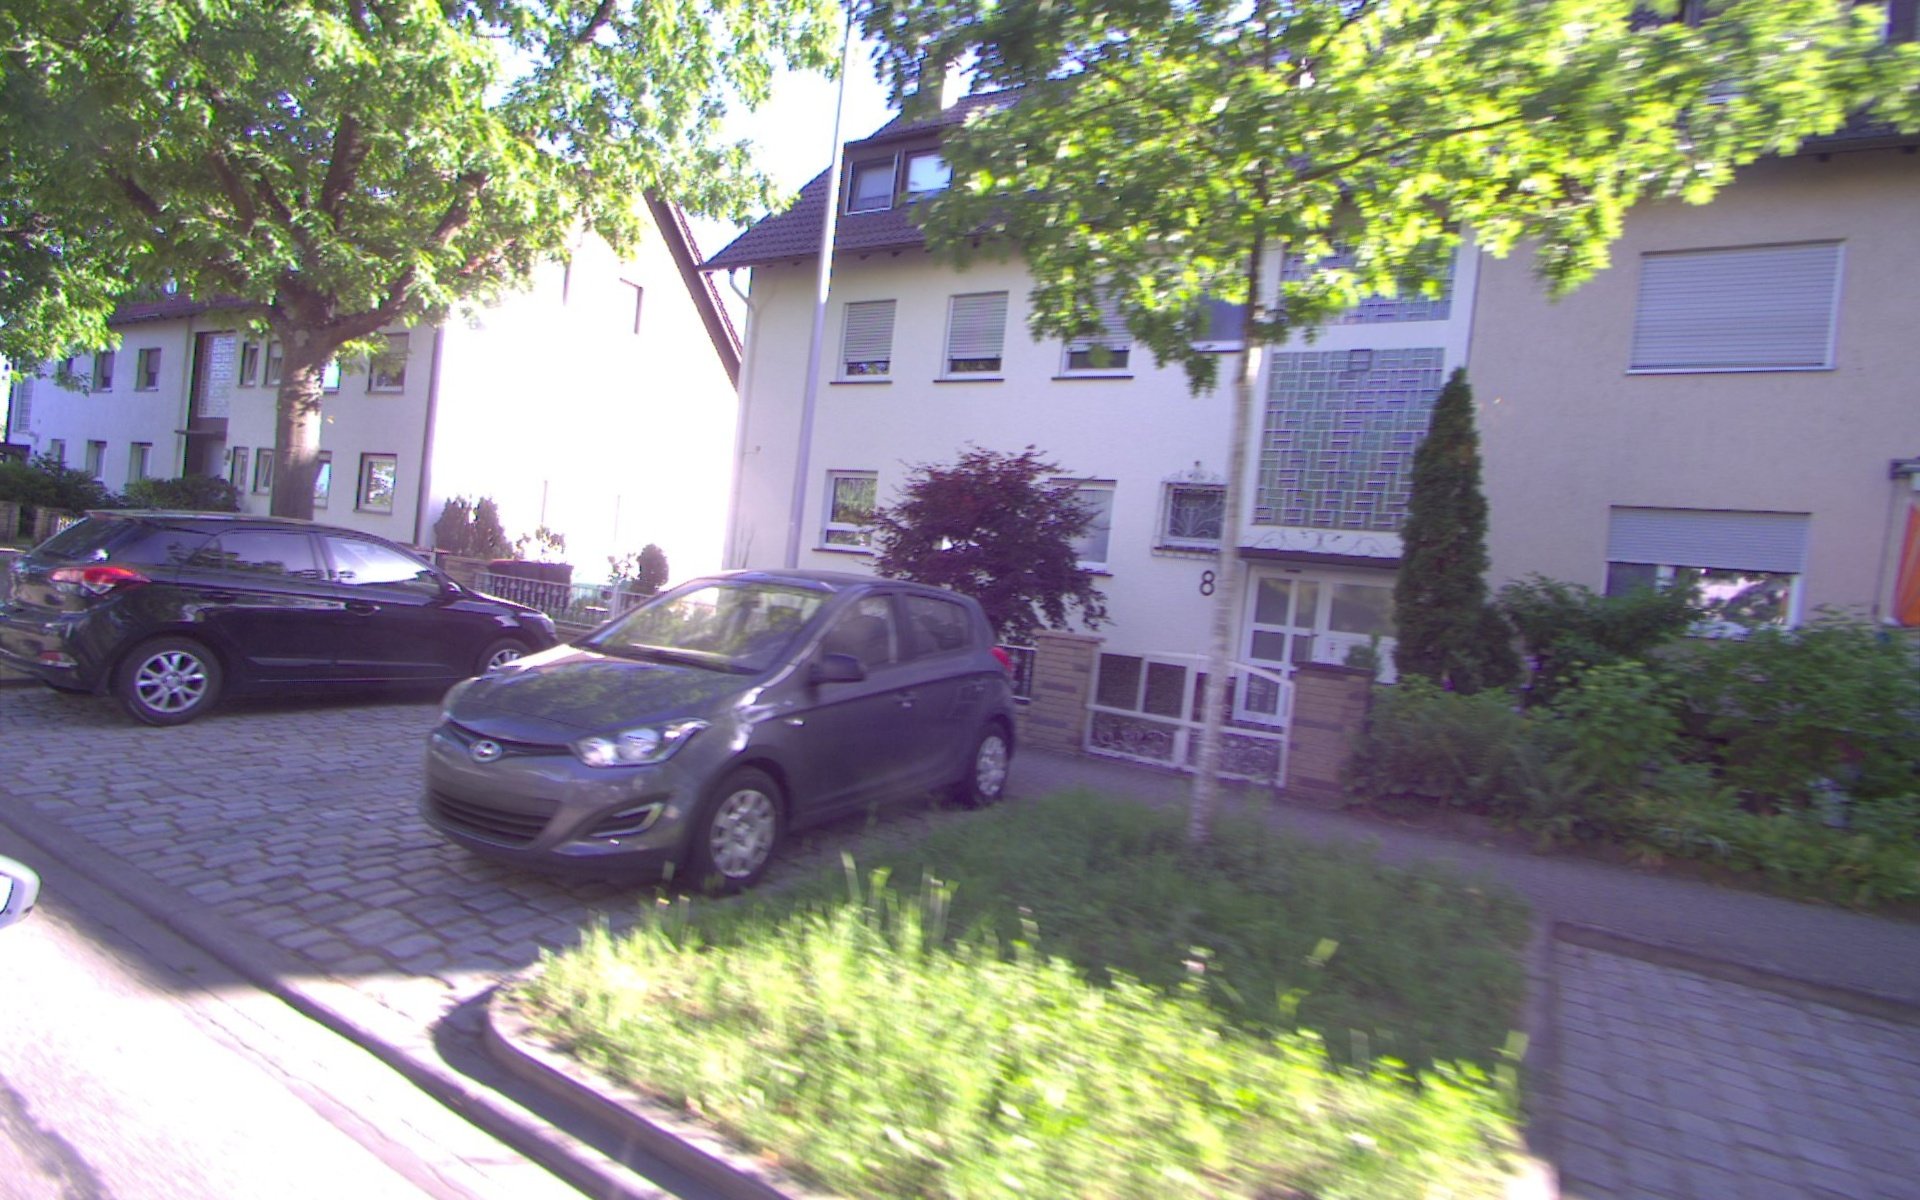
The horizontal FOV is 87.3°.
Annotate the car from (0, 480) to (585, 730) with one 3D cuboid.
[{"bbox_3d":[-5.328,0.092,8.332,1.634,1.535,3.886,6,0,32],"label":"car"}]

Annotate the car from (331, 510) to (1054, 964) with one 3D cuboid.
[{"bbox_3d":[-1.112,0.592,5.941,1.727,1.644,3.993,6,0,29],"label":"car"}]

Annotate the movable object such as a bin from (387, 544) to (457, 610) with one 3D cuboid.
[{"bbox_3d":[-9.936,-0.417,18.578,0.891,1.112,0.704,6,1,30],"label":"movable object such as a bin"}]

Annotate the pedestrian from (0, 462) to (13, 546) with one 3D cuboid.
[{"bbox_3d":[-21.940,-2.199,22.511,0.699,1.851,0.835,6,1,33],"label":"pedestrian"}]
